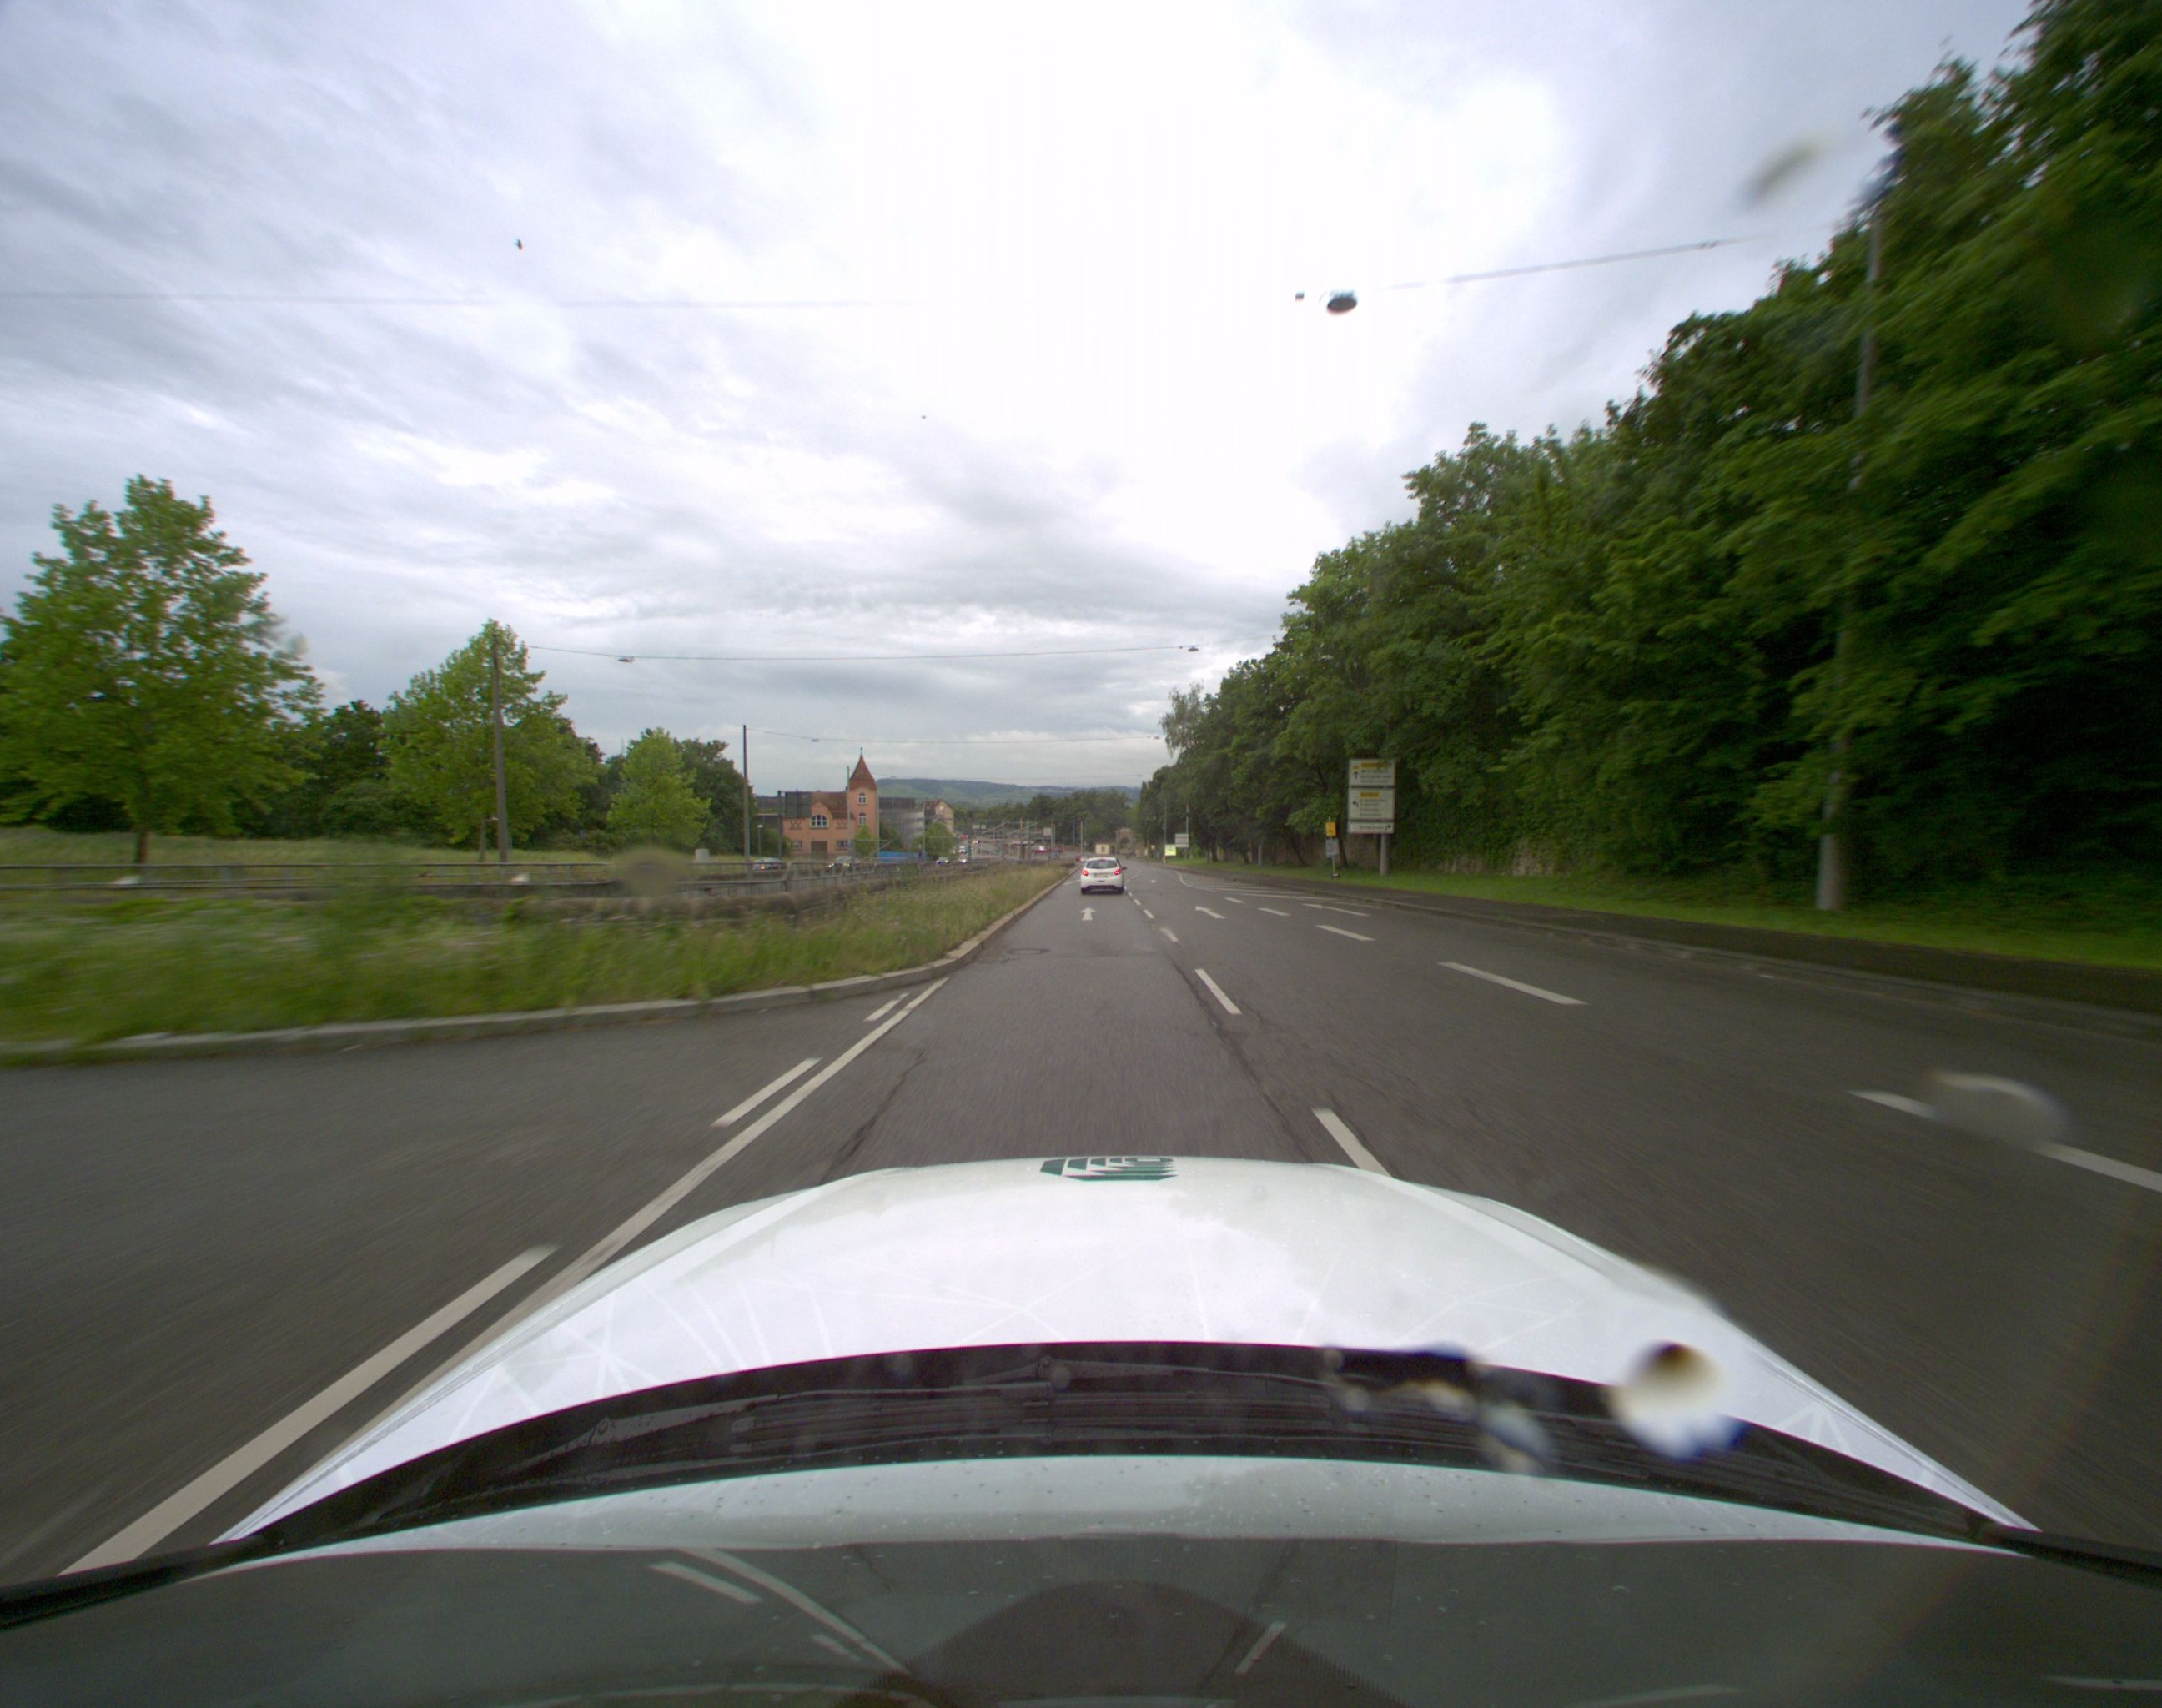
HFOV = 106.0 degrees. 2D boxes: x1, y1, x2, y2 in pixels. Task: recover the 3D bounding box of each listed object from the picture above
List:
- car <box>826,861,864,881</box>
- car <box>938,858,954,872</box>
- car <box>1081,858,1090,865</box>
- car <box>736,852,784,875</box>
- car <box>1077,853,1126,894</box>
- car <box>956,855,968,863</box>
[{"bbox_3d":[-21.112,1.514,72.948,1.883,1.644,4.360,3,0,2],"label":"car"},{"bbox_3d":[-20.776,1.703,125.607,1.885,1.970,4.033,3,0,-1],"label":"car"},{"bbox_3d":[1.015,1.681,188.622,1.815,1.606,4.003,-2,0,2],"label":"car"},{"bbox_3d":[-24.173,0.697,61.508,1.883,1.640,3.975,0,0,2],"label":"car"},{"bbox_3d":[0.870,0.753,33.792,1.861,1.511,3.901,-2,1,2],"label":"car"},{"bbox_3d":[-20.887,0.936,142.964,1.549,1.292,3.561,0,1,2],"label":"car"}]
